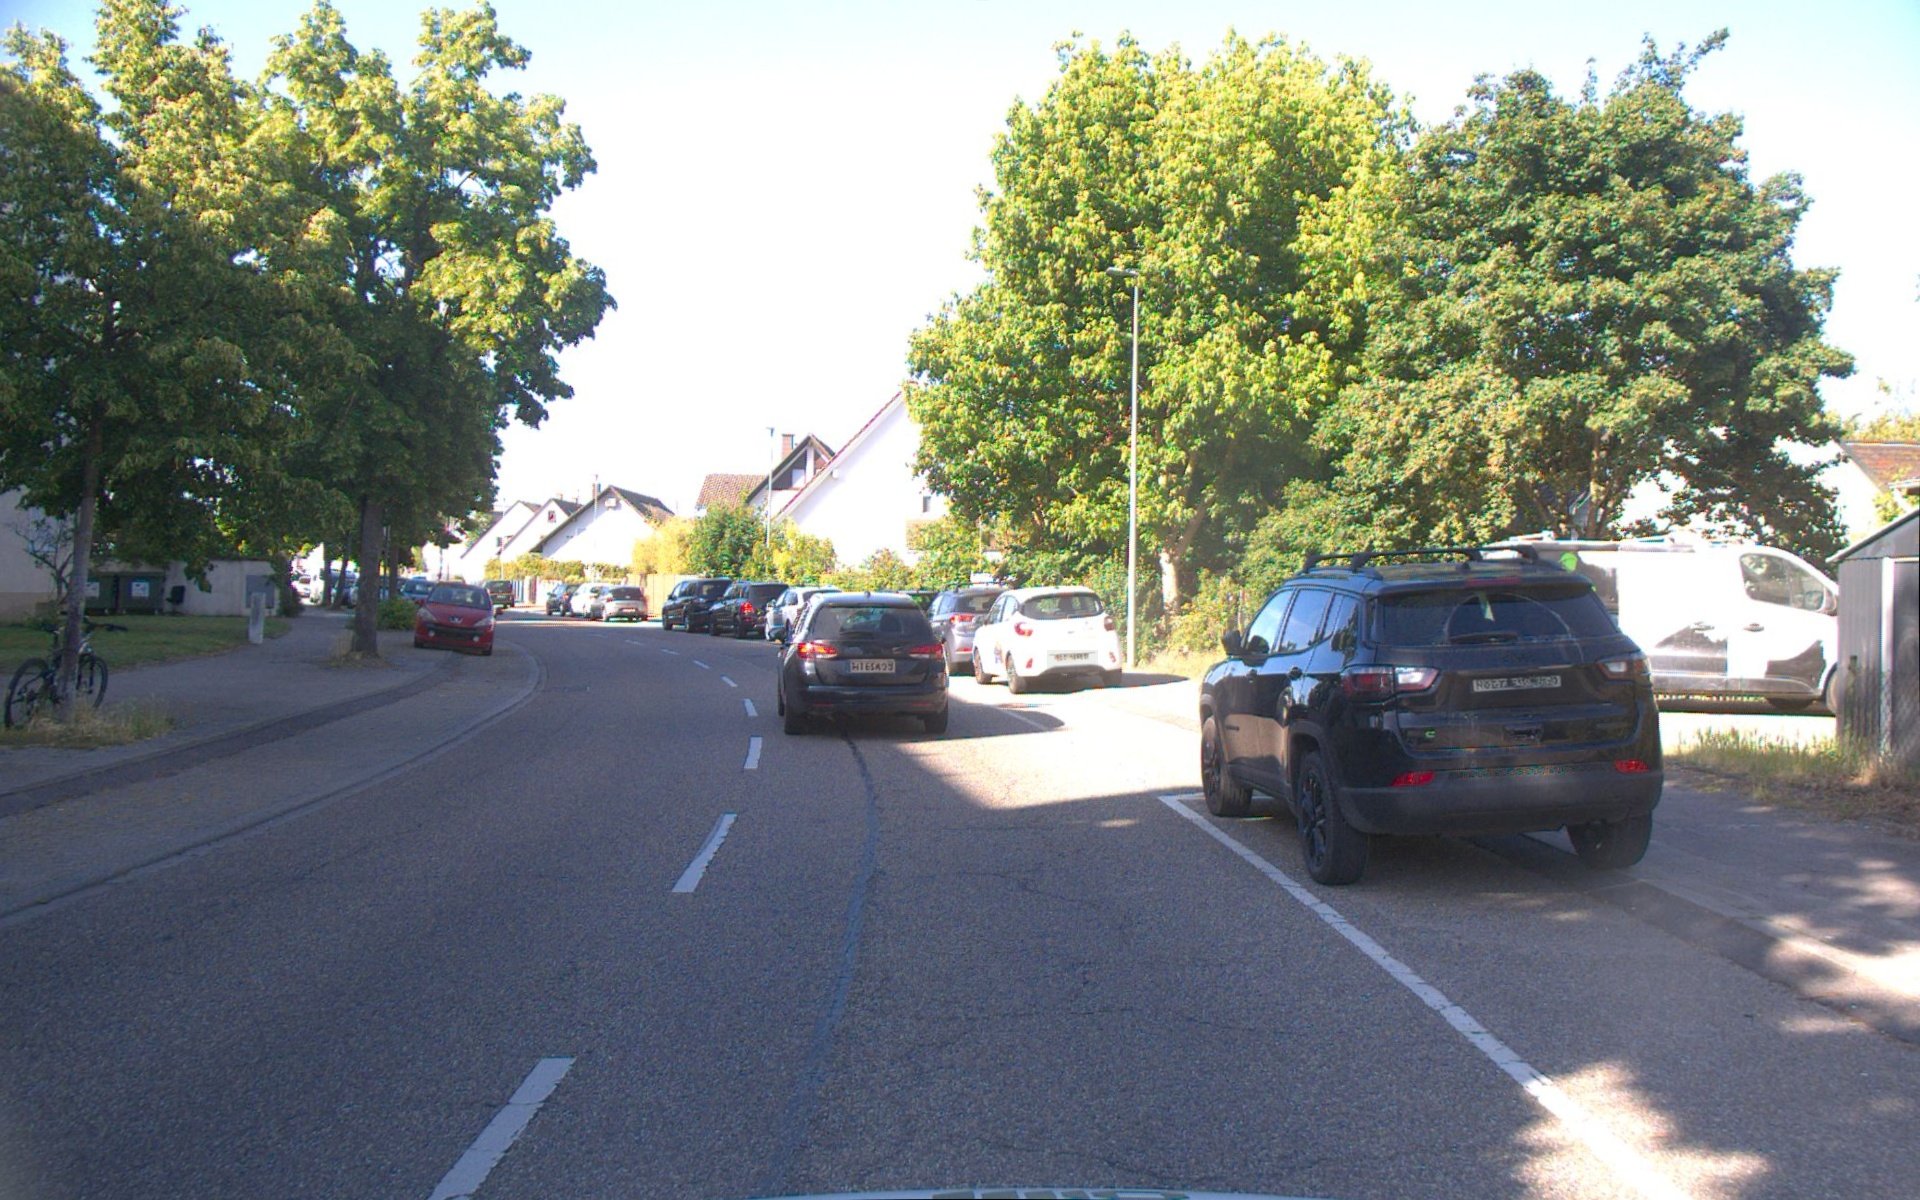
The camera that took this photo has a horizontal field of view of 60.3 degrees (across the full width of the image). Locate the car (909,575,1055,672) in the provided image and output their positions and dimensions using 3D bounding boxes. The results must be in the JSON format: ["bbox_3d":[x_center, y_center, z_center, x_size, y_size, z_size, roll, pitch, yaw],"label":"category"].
[{"bbox_3d":[0.319,0.416,30.462,1.877,1.628,4.283,1,0,-11],"label":"car"}]

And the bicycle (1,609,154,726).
[{"bbox_3d":[-8.085,0.591,15.232,0.359,0.986,1.885,1,0,1],"label":"bicycle"}]

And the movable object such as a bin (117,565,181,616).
[{"bbox_3d":[-24.358,-0.272,49.675,1.492,1.452,1.083,1,-2,-15],"label":"movable object such as a bin"}]

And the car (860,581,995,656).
[{"bbox_3d":[-0.772,0.388,35.676,1.972,1.501,4.278,1,0,-14],"label":"car"}]

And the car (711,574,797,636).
[{"bbox_3d":[-6.235,0.150,49.747,1.972,1.754,4.277,1,0,-15],"label":"car"}]

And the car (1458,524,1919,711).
[{"bbox_3d":[8.463,0.203,19.430,4.583,2.018,2.143,1,-1,1],"label":"car"}]

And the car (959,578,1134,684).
[{"bbox_3d":[1.257,0.459,25.887,1.729,1.506,4.282,1,0,-11],"label":"car"}]

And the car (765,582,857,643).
[{"bbox_3d":[-4.082,0.328,44.800,1.790,1.561,4.241,1,0,-15],"label":"car"}]

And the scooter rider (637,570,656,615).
[{"bbox_3d":[-14.621,-0.342,77.074,0.676,2.049,0.814,2,-2,-24],"label":"scooter rider"}]

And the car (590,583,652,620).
[{"bbox_3d":[-13.858,0.062,67.470,1.887,1.432,4.270,1,0,-19],"label":"car"}]

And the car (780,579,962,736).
[{"bbox_3d":[-1.114,0.589,18.733,1.728,1.517,4.284,2,0,-7],"label":"car"}]

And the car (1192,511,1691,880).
[{"bbox_3d":[2.623,0.475,10.106,1.741,1.754,4.293,1,0,-1],"label":"car"}]

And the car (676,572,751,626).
[{"bbox_3d":[-8.277,-0.030,55.239,1.872,1.695,4.171,1,0,-17],"label":"car"}]

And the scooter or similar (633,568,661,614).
[{"bbox_3d":[-14.576,-0.399,77.010,0.676,2.049,2.941,2,-2,-23],"label":"scooter or similar"}]

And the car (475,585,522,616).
[{"bbox_3d":[-27.157,0.043,97.226,1.980,1.754,4.261,1,-1,-25],"label":"car"}]

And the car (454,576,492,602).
[{"bbox_3d":[-34.154,-0.785,115.921,1.980,1.754,4.261,1,-1,-25],"label":"car"}]

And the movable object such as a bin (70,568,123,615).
[{"bbox_3d":[-25.725,-0.238,49.299,1.152,1.345,1.083,1,-2,-15],"label":"movable object such as a bin"}]

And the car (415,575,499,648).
[{"bbox_3d":[-11.415,0.248,37.719,1.661,1.517,4.273,2,-1,-15],"label":"car"}]

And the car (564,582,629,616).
[{"bbox_3d":[-16.167,-0.044,73.391,1.892,1.432,4.259,1,0,-26],"label":"car"}]

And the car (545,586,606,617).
[{"bbox_3d":[-18.089,0.072,77.683,1.892,1.432,4.259,1,0,-26],"label":"car"}]

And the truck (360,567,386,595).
[{"bbox_3d":[-61.735,-1.967,173.961,2.176,2.645,5.105,2,-2,-24],"label":"truck"}]
